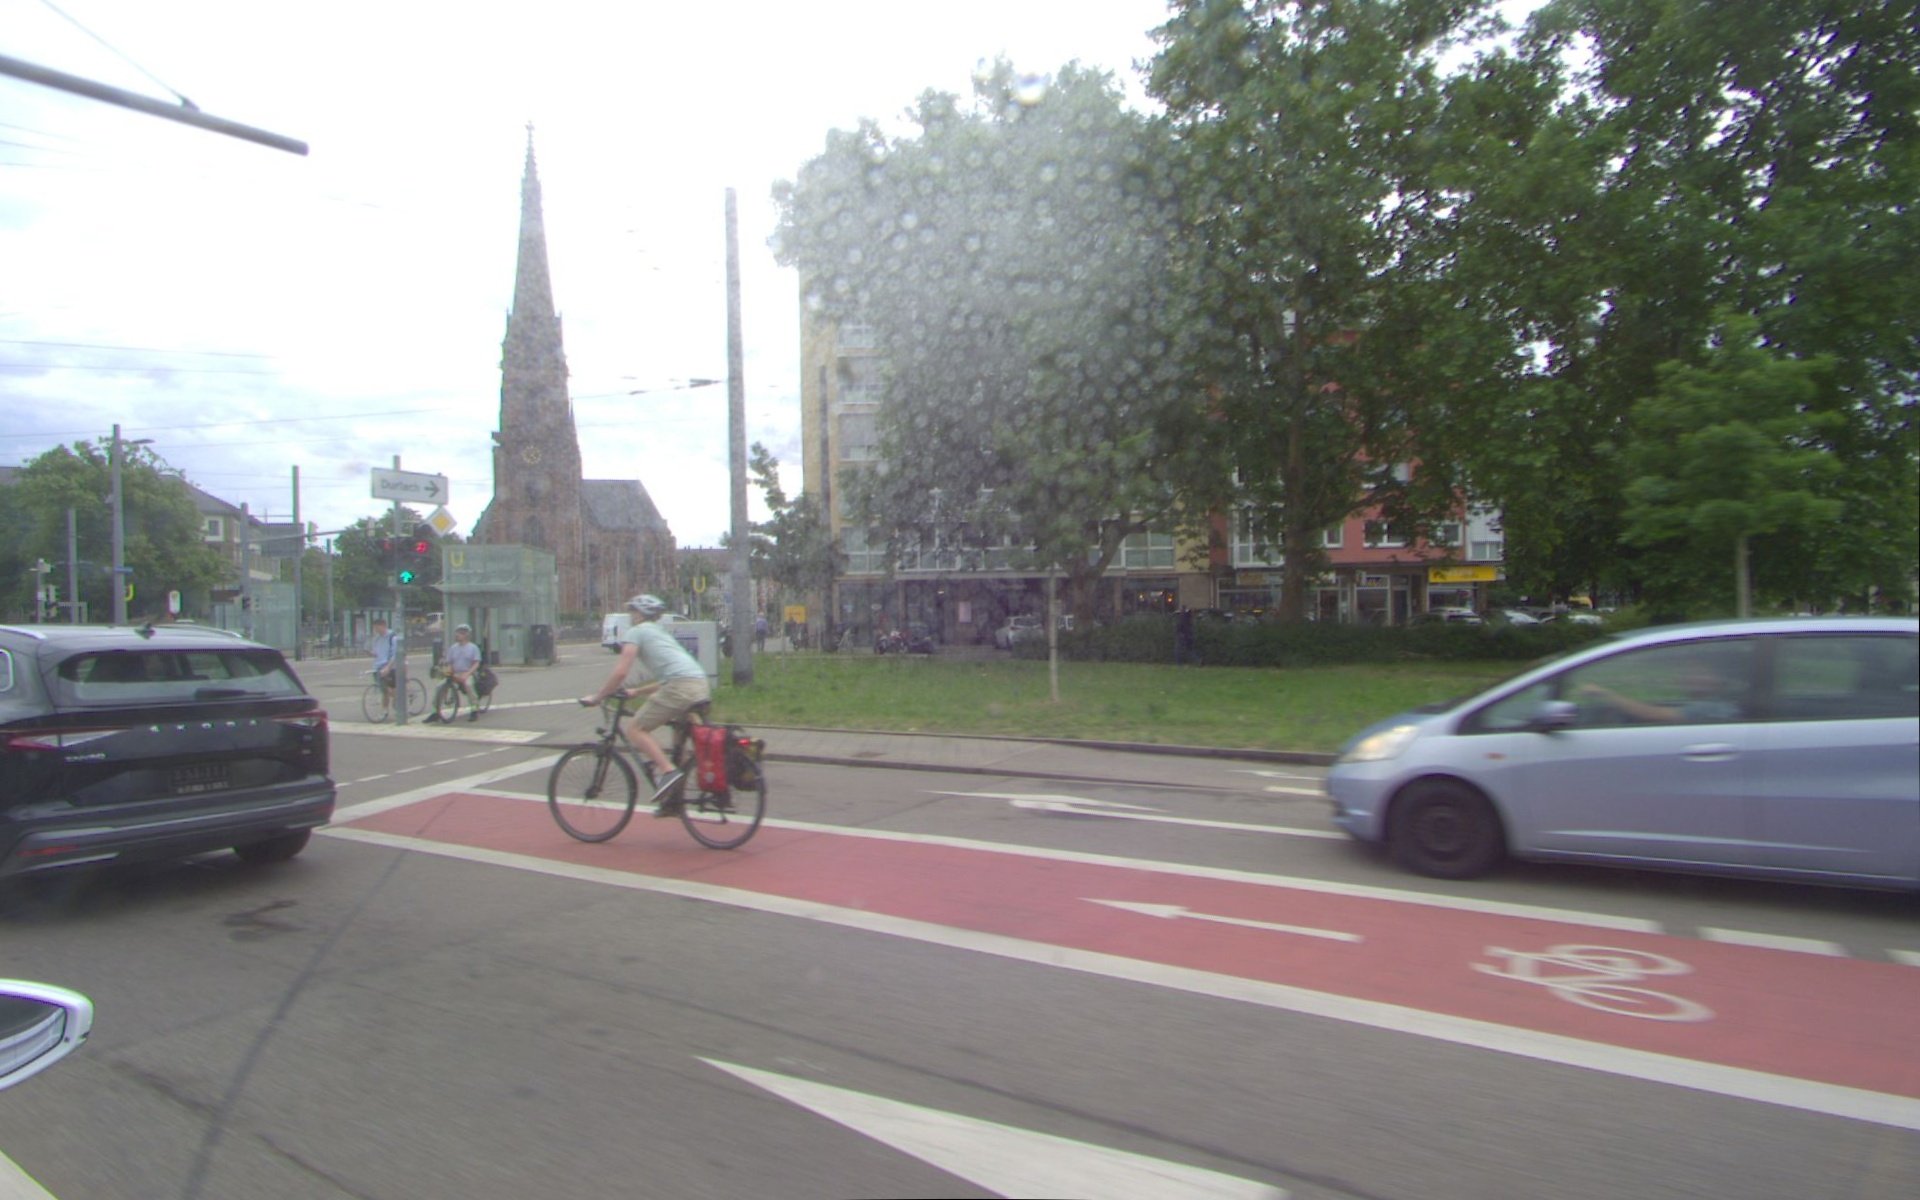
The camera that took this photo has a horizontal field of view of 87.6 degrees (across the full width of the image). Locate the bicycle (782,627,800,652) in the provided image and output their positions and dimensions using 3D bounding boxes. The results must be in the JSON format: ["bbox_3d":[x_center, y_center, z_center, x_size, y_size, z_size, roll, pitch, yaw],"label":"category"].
[{"bbox_3d":[-8.611,1.997,50.990,0.657,1.184,2.040,-1,0,-4],"label":"bicycle"}]

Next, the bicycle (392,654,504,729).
[{"bbox_3d":[-8.756,1.541,17.222,0.590,1.012,1.943,-1,3,11],"label":"bicycle"}]

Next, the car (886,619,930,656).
[{"bbox_3d":[-2.211,1.594,43.688,1.806,1.462,4.166,-1,0,-2],"label":"car"}]

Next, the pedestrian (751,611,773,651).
[{"bbox_3d":[-8.886,1.394,44.954,0.797,1.760,0.906,-1,1,-3],"label":"pedestrian"}]

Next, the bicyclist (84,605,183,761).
[{"bbox_3d":[-9.423,0.914,11.421,0.794,1.713,0.615,0,0,29],"label":"bicyclist"}]

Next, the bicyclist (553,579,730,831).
[{"bbox_3d":[-2.244,0.708,7.097,0.919,1.639,0.788,-1,-2,30],"label":"bicyclist"}]

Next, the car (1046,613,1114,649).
[{"bbox_3d":[5.304,1.364,44.895,1.962,1.461,3.997,-1,0,-10],"label":"car"}]

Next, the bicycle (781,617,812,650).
[{"bbox_3d":[-7.366,1.481,45.207,0.886,1.395,2.784,-1,0,1],"label":"bicycle"}]

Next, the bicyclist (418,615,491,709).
[{"bbox_3d":[-8.739,1.063,17.337,0.659,1.543,0.885,-1,3,11],"label":"bicyclist"}]

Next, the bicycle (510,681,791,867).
[{"bbox_3d":[-2.212,1.151,7.082,1.986,1.092,0.760,-1,-2,30],"label":"bicycle"}]

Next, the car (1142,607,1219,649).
[{"bbox_3d":[9.779,1.238,44.718,1.962,1.746,3.998,-1,-1,-9],"label":"car"}]

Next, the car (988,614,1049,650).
[{"bbox_3d":[2.553,1.390,44.533,1.962,1.483,3.999,-1,-1,-8],"label":"car"}]

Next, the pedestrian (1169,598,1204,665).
[{"bbox_3d":[6.374,0.882,28.192,0.881,1.843,0.866,-1,1,7],"label":"pedestrian"}]

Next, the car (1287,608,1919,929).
[{"bbox_3d":[4.105,0.835,5.906,3.875,1.502,1.703,-1,-2,30],"label":"car"}]

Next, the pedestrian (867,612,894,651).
[{"bbox_3d":[-3.744,1.478,47.207,1.032,1.780,0.786,-1,1,-22],"label":"pedestrian"}]

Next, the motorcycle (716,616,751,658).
[{"bbox_3d":[-7.934,1.272,35.155,1.027,1.384,2.291,-1,0,-9],"label":"motorcycle"}]

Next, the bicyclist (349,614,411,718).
[{"bbox_3d":[-10.203,1.140,17.644,0.574,1.775,0.734,-1,1,5],"label":"bicyclist"}]

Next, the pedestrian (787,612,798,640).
[{"bbox_3d":[-10.664,1.662,63.793,0.606,1.738,0.823,-1,1,-12],"label":"pedestrian"}]

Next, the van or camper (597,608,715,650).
[{"bbox_3d":[-15.548,1.465,51.409,5.405,2.004,2.154,-1,-1,-40],"label":"van or camper"}]

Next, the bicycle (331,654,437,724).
[{"bbox_3d":[-10.195,1.549,17.807,0.568,1.012,1.991,-1,2,5],"label":"bicycle"}]

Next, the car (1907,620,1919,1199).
[{"bbox_3d":[3.945,0.707,0.540,4.689,1.454,1.762,-1,-2,32],"label":"car"}]

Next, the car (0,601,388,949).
[{"bbox_3d":[-6.128,0.894,6.746,4.446,1.680,1.901,-1,0,29],"label":"car"}]
